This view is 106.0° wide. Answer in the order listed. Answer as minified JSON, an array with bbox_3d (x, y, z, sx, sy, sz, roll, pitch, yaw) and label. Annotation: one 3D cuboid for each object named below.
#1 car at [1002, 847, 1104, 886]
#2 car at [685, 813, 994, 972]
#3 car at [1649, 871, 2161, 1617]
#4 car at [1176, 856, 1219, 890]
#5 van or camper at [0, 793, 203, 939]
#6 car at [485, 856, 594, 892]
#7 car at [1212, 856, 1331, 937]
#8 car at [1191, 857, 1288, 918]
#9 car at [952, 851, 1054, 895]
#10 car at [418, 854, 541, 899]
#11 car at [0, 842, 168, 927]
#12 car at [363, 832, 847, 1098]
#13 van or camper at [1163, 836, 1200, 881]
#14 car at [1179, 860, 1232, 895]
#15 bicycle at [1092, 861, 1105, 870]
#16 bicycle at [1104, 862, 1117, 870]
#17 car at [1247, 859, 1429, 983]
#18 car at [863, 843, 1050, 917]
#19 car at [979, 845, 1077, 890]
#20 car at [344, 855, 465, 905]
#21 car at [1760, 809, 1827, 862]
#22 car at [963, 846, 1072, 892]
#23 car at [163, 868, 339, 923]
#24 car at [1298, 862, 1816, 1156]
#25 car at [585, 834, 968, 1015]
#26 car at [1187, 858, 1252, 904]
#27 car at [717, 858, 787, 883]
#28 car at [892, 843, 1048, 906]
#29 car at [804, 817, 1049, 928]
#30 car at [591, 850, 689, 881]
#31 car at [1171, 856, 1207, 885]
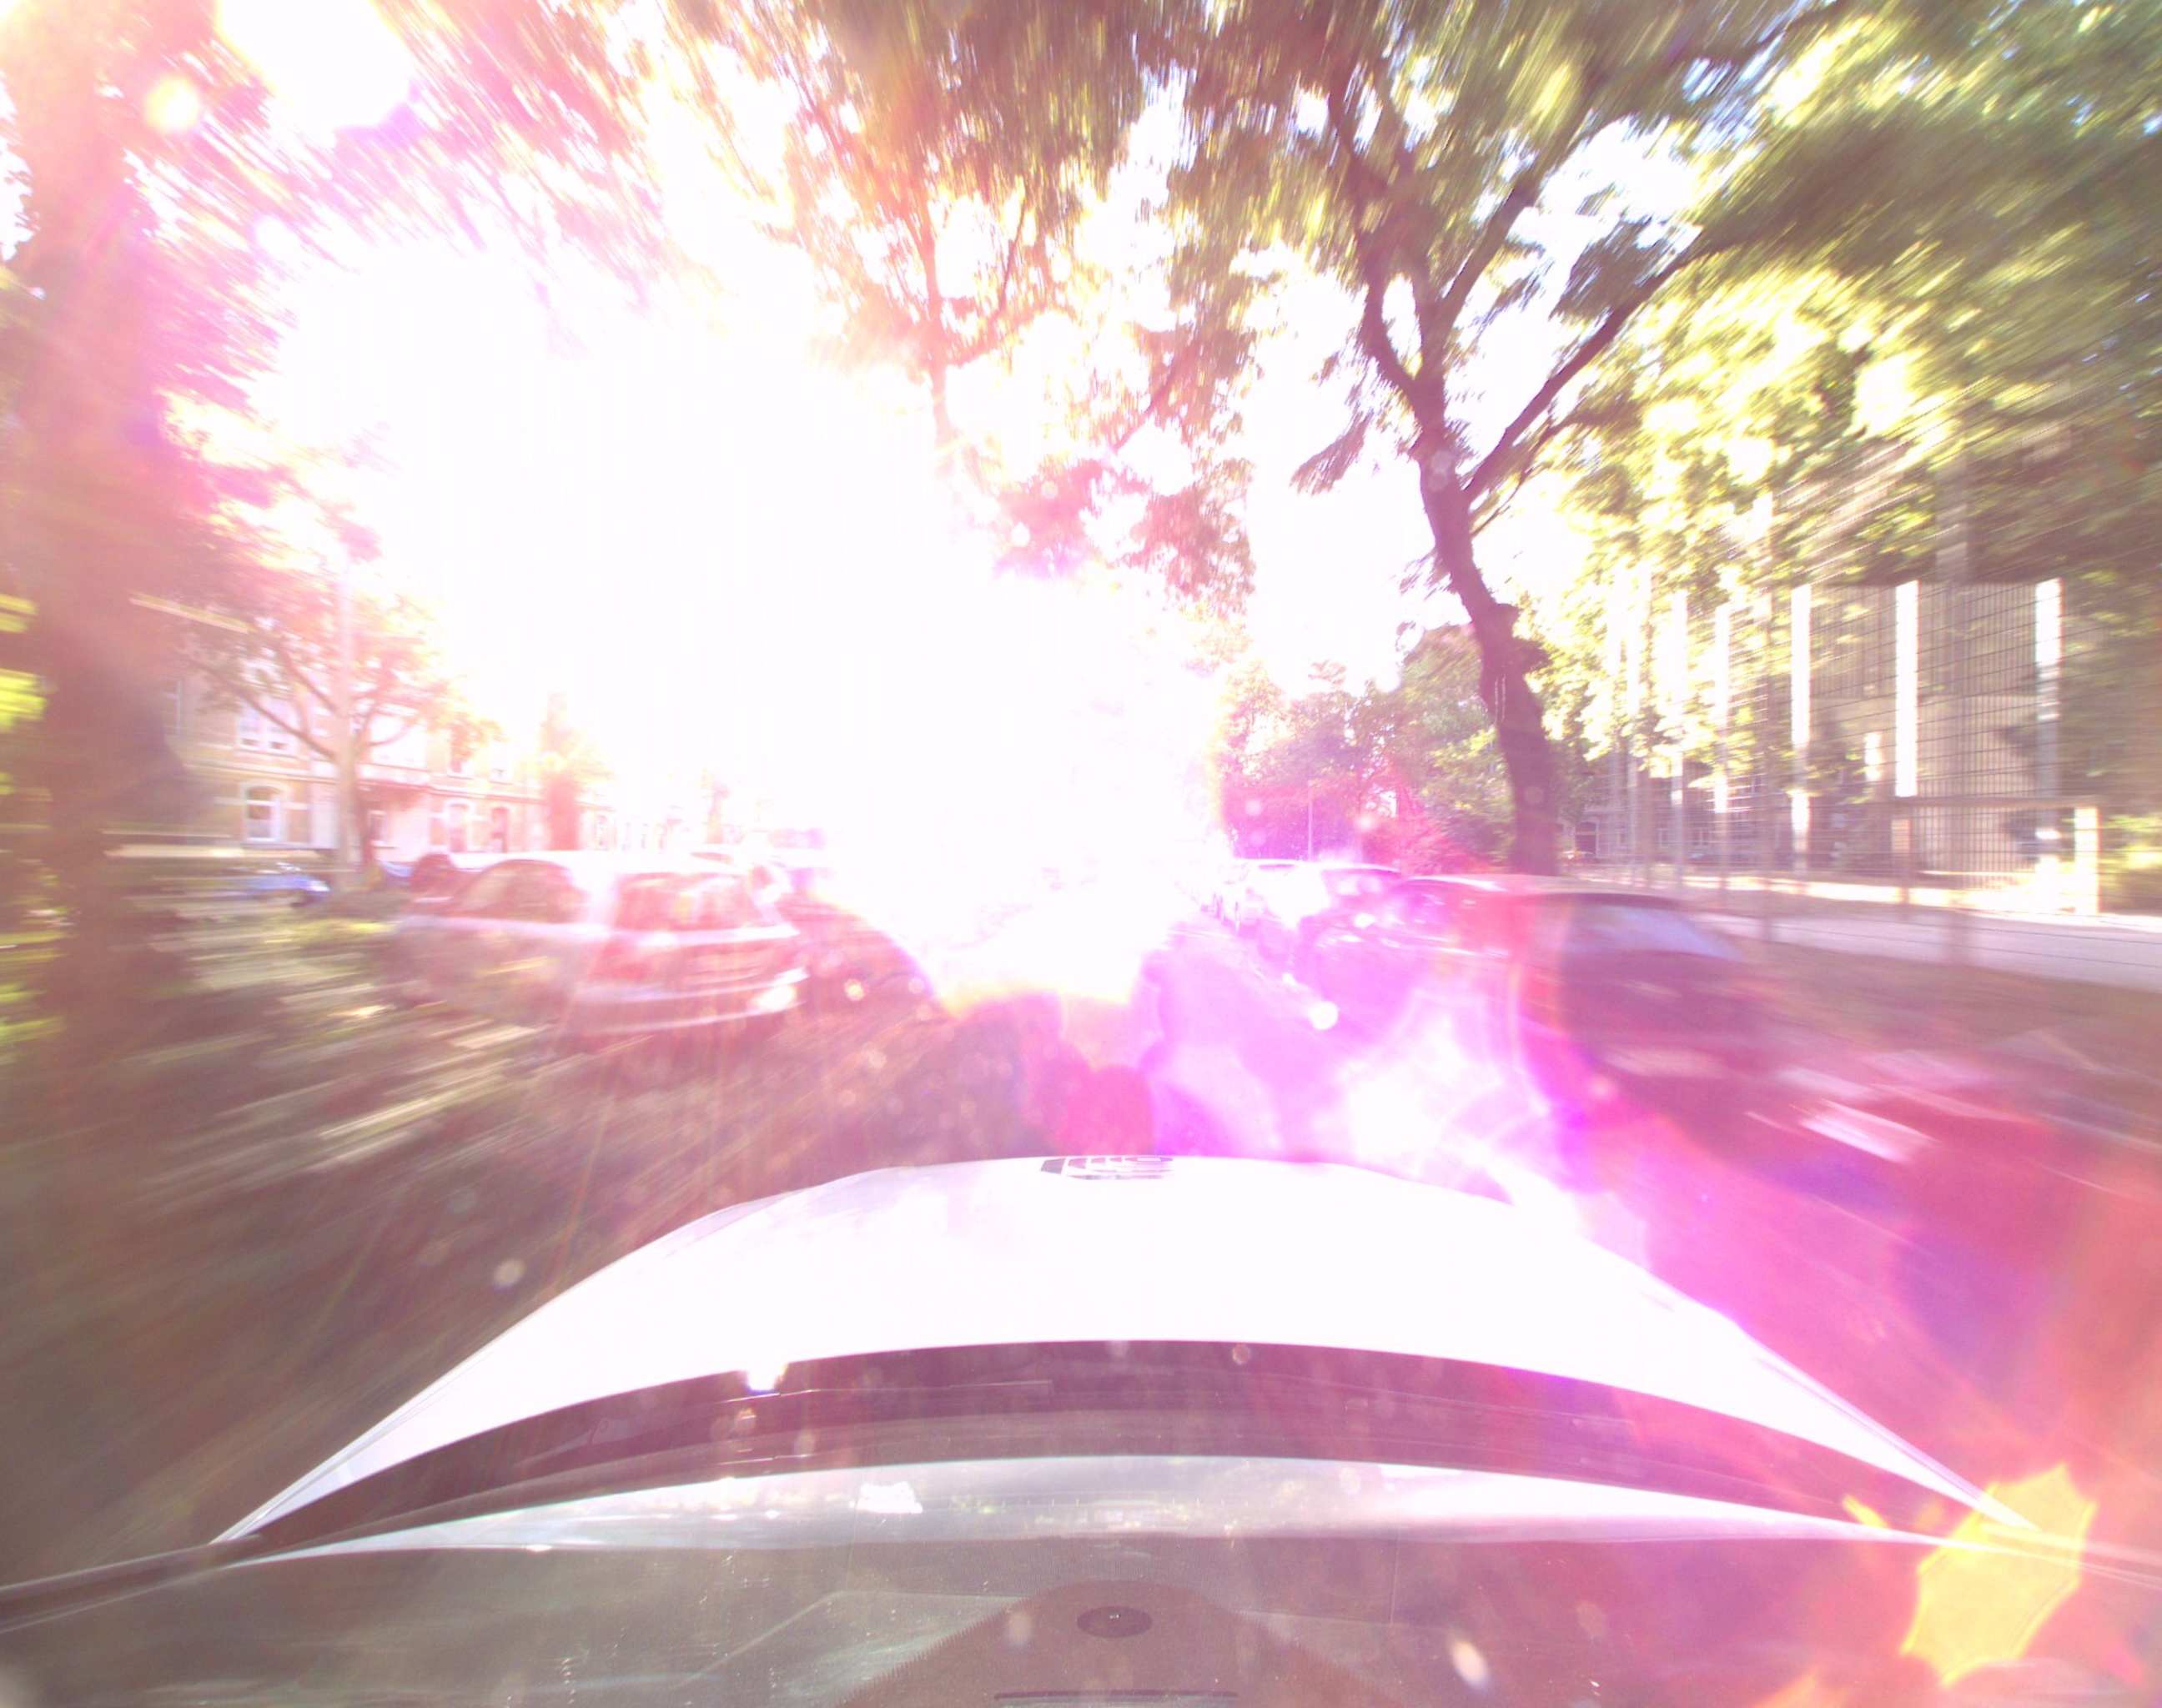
[{"bbox_3d":[-1.479,0.648,42.637,4.939,1.781,2.000,3,0,31],"label":"car"},{"bbox_3d":[-3.757,0.443,12.317,4.653,1.943,1.946,3,0,36],"label":"car"},{"bbox_3d":[2.970,0.791,1.161,1.666,1.454,3.950,0,0,2],"label":"car"},{"bbox_3d":[5.439,0.847,38.414,1.673,1.526,4.292,0,0,4],"label":"car"},{"bbox_3d":[-19.377,0.241,15.568,5.481,2.371,2.322,-1,0,30],"label":"van or camper"},{"bbox_3d":[-18.973,0.678,28.499,4.150,1.168,1.509,0,0,30],"label":"car"},{"bbox_3d":[3.761,0.771,16.711,1.673,1.454,4.079,0,0,3],"label":"car"},{"bbox_3d":[4.077,0.806,21.538,1.676,1.454,4.073,0,0,-1],"label":"car"},{"bbox_3d":[-2.975,0.706,30.831,3.384,1.425,1.845,3,0,34],"label":"car"},{"bbox_3d":[-18.928,0.675,25.590,4.135,1.310,1.646,0,0,31],"label":"car"},{"bbox_3d":[-27.242,0.718,21.077,1.844,2.004,4.661,2,1,1],"label":"car"},{"bbox_3d":[-4.045,0.660,6.738,4.041,1.488,1.795,3,0,34],"label":"car"},{"bbox_3d":[6.505,0.282,53.159,2.075,2.762,5.851,0,0,4],"label":"van or camper"},{"bbox_3d":[4.960,0.902,32.893,1.674,1.283,4.289,0,0,2],"label":"car"},{"bbox_3d":[1.999,1.297,92.428,0.641,1.022,2.072,0,0,-22],"label":"bicycle"},{"bbox_3d":[3.259,1.296,90.290,0.546,0.904,1.719,0,0,-31],"label":"bicycle"},{"bbox_3d":[3.408,0.802,11.440,1.584,1.454,3.557,0,0,3],"label":"car"},{"bbox_3d":[-3.280,0.631,21.408,4.463,1.616,1.946,3,0,27],"label":"car"},{"bbox_3d":[-2.422,0.581,36.776,4.108,1.781,1.895,3,0,39],"label":"car"},{"bbox_3d":[-27.128,1.002,32.805,1.844,1.782,3.509,2,1,1],"label":"car"},{"bbox_3d":[35.807,-0.860,40.851,2.342,2.456,5.542,-1,-1,43],"label":"car"},{"bbox_3d":[-2.632,0.604,33.557,4.107,1.644,1.927,3,0,35],"label":"car"},{"bbox_3d":[-19.069,0.890,18.683,4.114,1.097,1.838,-1,0,30],"label":"car"},{"bbox_3d":[2.933,0.802,6.097,1.666,1.454,3.950,0,0,2],"label":"car"},{"bbox_3d":[-3.690,0.647,9.549,4.513,1.541,1.946,3,0,36],"label":"car"},{"bbox_3d":[4.612,0.836,27.659,1.673,1.424,4.663,0,0,4],"label":"car"},{"bbox_3d":[-18.864,0.924,46.662,3.691,1.381,1.718,0,0,28],"label":"car"},{"bbox_3d":[-3.396,0.576,24.712,4.462,1.616,1.865,3,0,32],"label":"car"},{"bbox_3d":[-3.622,0.334,18.670,5.444,2.137,2.094,3,0,32],"label":"car"},{"bbox_3d":[-19.123,0.488,35.316,3.952,1.317,1.602,0,0,22],"label":"car"},{"bbox_3d":[5.809,0.858,44.222,1.673,1.526,4.494,0,0,4],"label":"car"}]
